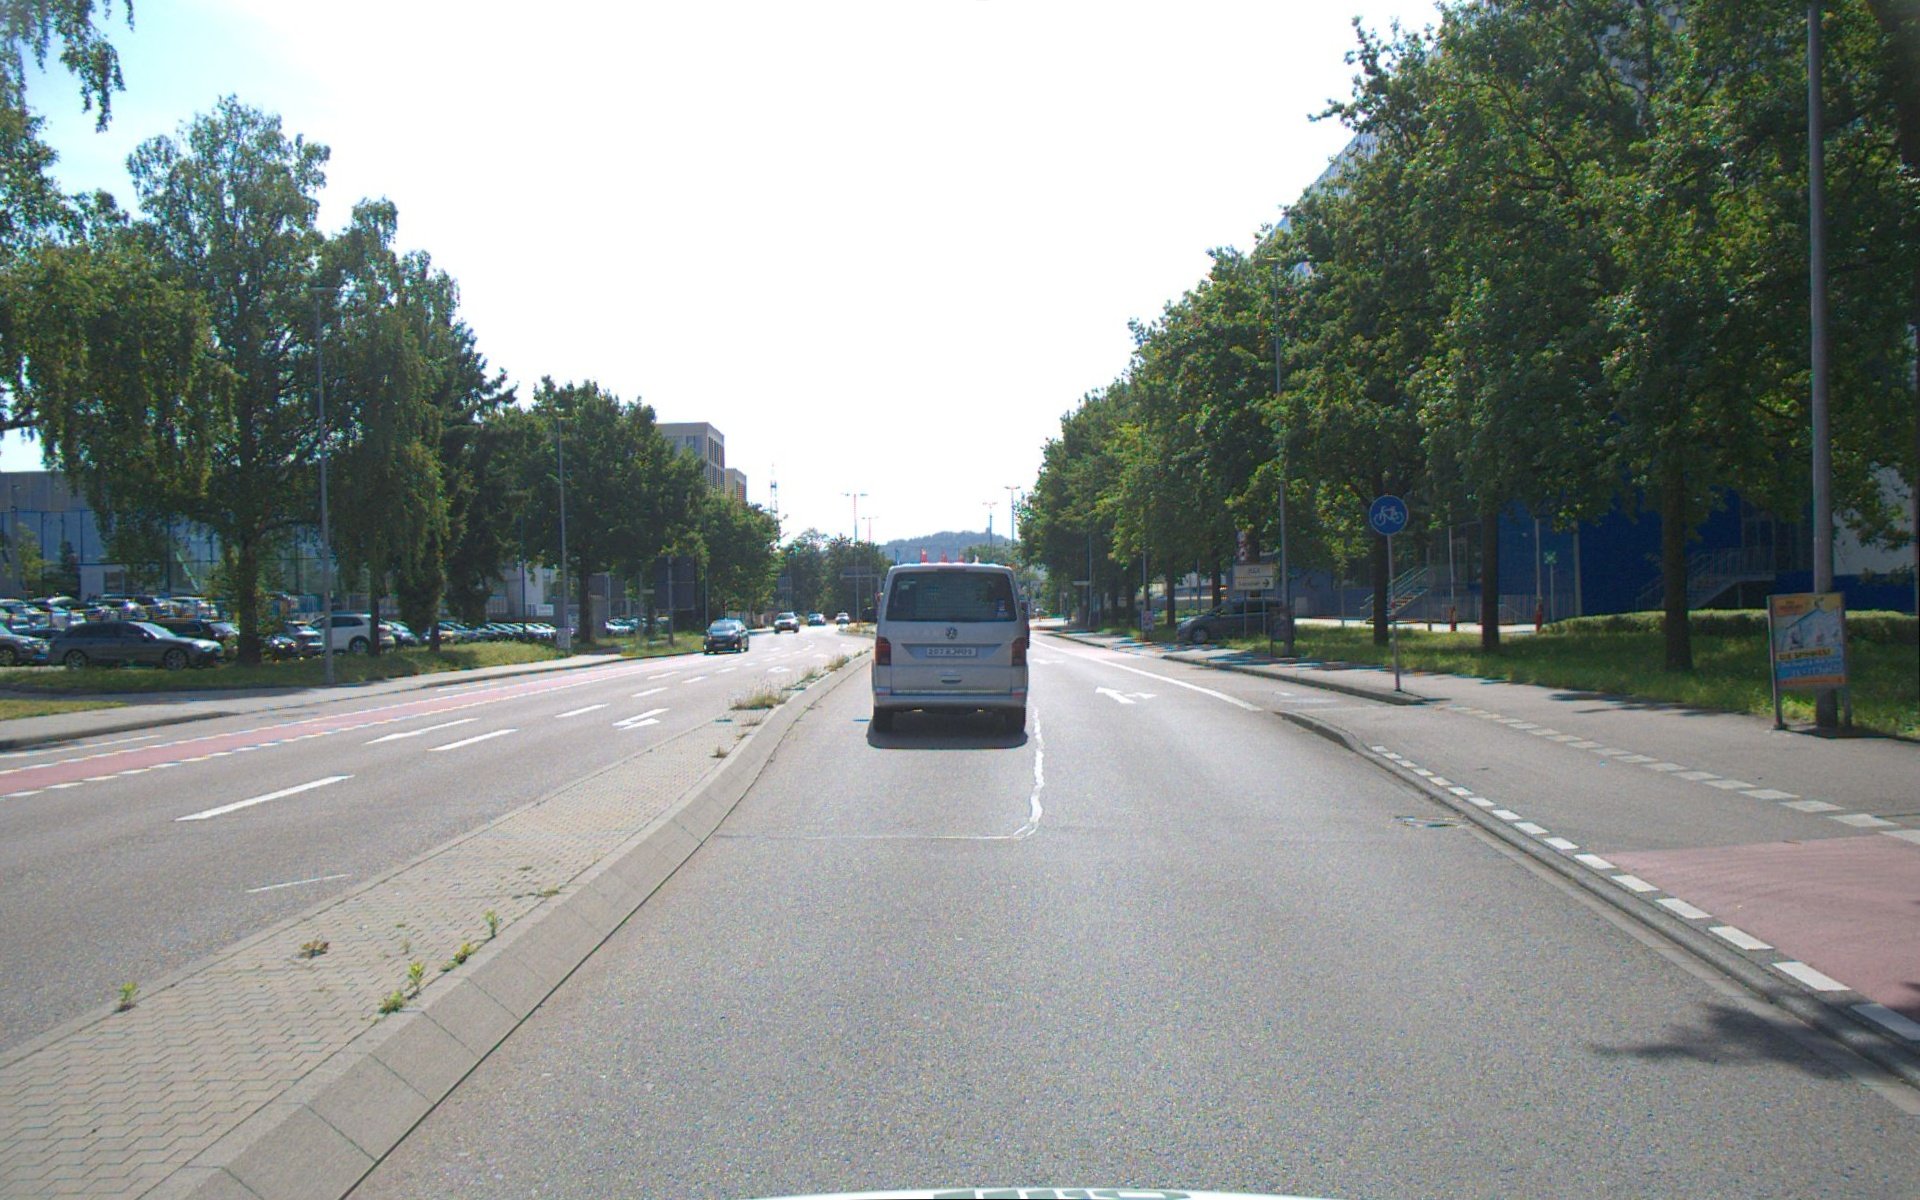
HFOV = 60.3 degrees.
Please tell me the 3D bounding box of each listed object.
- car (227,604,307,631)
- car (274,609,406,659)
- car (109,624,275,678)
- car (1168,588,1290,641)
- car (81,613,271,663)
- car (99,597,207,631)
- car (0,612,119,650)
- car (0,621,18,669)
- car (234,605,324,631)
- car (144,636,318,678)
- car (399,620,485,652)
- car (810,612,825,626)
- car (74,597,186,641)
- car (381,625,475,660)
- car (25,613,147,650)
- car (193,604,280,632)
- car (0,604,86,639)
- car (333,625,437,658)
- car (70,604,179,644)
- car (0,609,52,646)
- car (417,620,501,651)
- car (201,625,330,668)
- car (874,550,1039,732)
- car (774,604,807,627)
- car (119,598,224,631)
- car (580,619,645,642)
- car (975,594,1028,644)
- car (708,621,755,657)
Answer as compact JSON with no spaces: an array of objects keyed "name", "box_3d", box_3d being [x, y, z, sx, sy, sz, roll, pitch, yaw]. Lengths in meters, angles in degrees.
[{"name":"car","box_3d":[-39.722,1.023,94.871,3.906,1.522,1.667,0,0,-2]},{"name":"car","box_3d":[-23.976,1.292,64.067,4.372,1.908,2.000,0,0,0]},{"name":"car","box_3d":[-23.437,1.551,50.602,4.128,1.573,1.999,0,0,-2]},{"name":"car","box_3d":[10.071,0.540,62.095,4.350,1.723,1.845,-3,-1,6]},{"name":"car","box_3d":[-22.858,1.083,48.342,4.592,1.414,1.999,0,0,-2]},{"name":"car","box_3d":[-40.642,0.699,83.394,4.410,1.578,1.978,-2,0,-3]},{"name":"car","box_3d":[-39.667,1.337,72.645,4.410,1.511,1.978,-2,0,-3]},{"name":"car","box_3d":[-34.321,1.514,55.676,4.157,1.592,1.804,0,0,-3]},{"name":"car","box_3d":[-39.897,1.048,96.925,4.428,1.522,1.985,0,0,-2]},{"name":"car","box_3d":[-23.639,1.835,53.777,4.753,1.290,1.999,0,0,-2]},{"name":"car","box_3d":[-25.074,1.746,80.167,3.523,1.307,1.864,-3,0,-3]},{"name":"car","box_3d":[-18.244,2.478,211.623,1.704,1.646,4.206,-4,0,-4]},{"name":"car","box_3d":[-40.467,0.936,80.714,4.410,1.996,1.978,-2,-1,-3]},{"name":"car","box_3d":[-24.993,1.989,77.780,3.810,1.363,1.839,-3,0,-3]},{"name":"car","box_3d":[-39.686,1.436,75.154,4.410,1.511,1.978,-2,0,-3]},{"name":"car","box_3d":[-40.051,0.998,91.654,3.906,1.522,2.051,0,0,-2]},{"name":"car","box_3d":[-39.607,0.896,69.820,4.410,1.443,1.890,0,0,-3]},{"name":"car","box_3d":[-23.814,1.711,68.540,3.715,1.308,1.743,0,0,-3]},{"name":"car","box_3d":[-39.218,1.112,77.685,4.183,1.735,1.664,-2,-1,-3]},{"name":"car","box_3d":[-39.357,1.107,66.871,4.119,1.502,1.998,0,0,-5]},{"name":"car","box_3d":[-25.003,1.749,82.643,3.607,1.307,1.984,-3,0,-3]},{"name":"car","box_3d":[-23.502,1.562,56.048,3.605,1.395,1.816,0,0,-2]},{"name":"car","box_3d":[-0.079,0.463,20.464,1.846,2.025,3.999,0,0,-1]},{"name":"car","box_3d":[-13.227,1.218,129.253,1.952,1.646,4.105,-3,0,3]},{"name":"car","box_3d":[-40.724,0.743,85.524,4.410,1.511,1.978,-2,0,-3]},{"name":"car","box_3d":[-24.273,2.104,115.651,4.092,1.211,1.954,-5,0,-3]},{"name":"car","box_3d":[1.724,0.785,69.672,1.928,2.002,5.123,0,0,-2]},{"name":"car","box_3d":[-10.678,1.810,77.494,1.664,1.545,4.026,-3,0,-2]}]
